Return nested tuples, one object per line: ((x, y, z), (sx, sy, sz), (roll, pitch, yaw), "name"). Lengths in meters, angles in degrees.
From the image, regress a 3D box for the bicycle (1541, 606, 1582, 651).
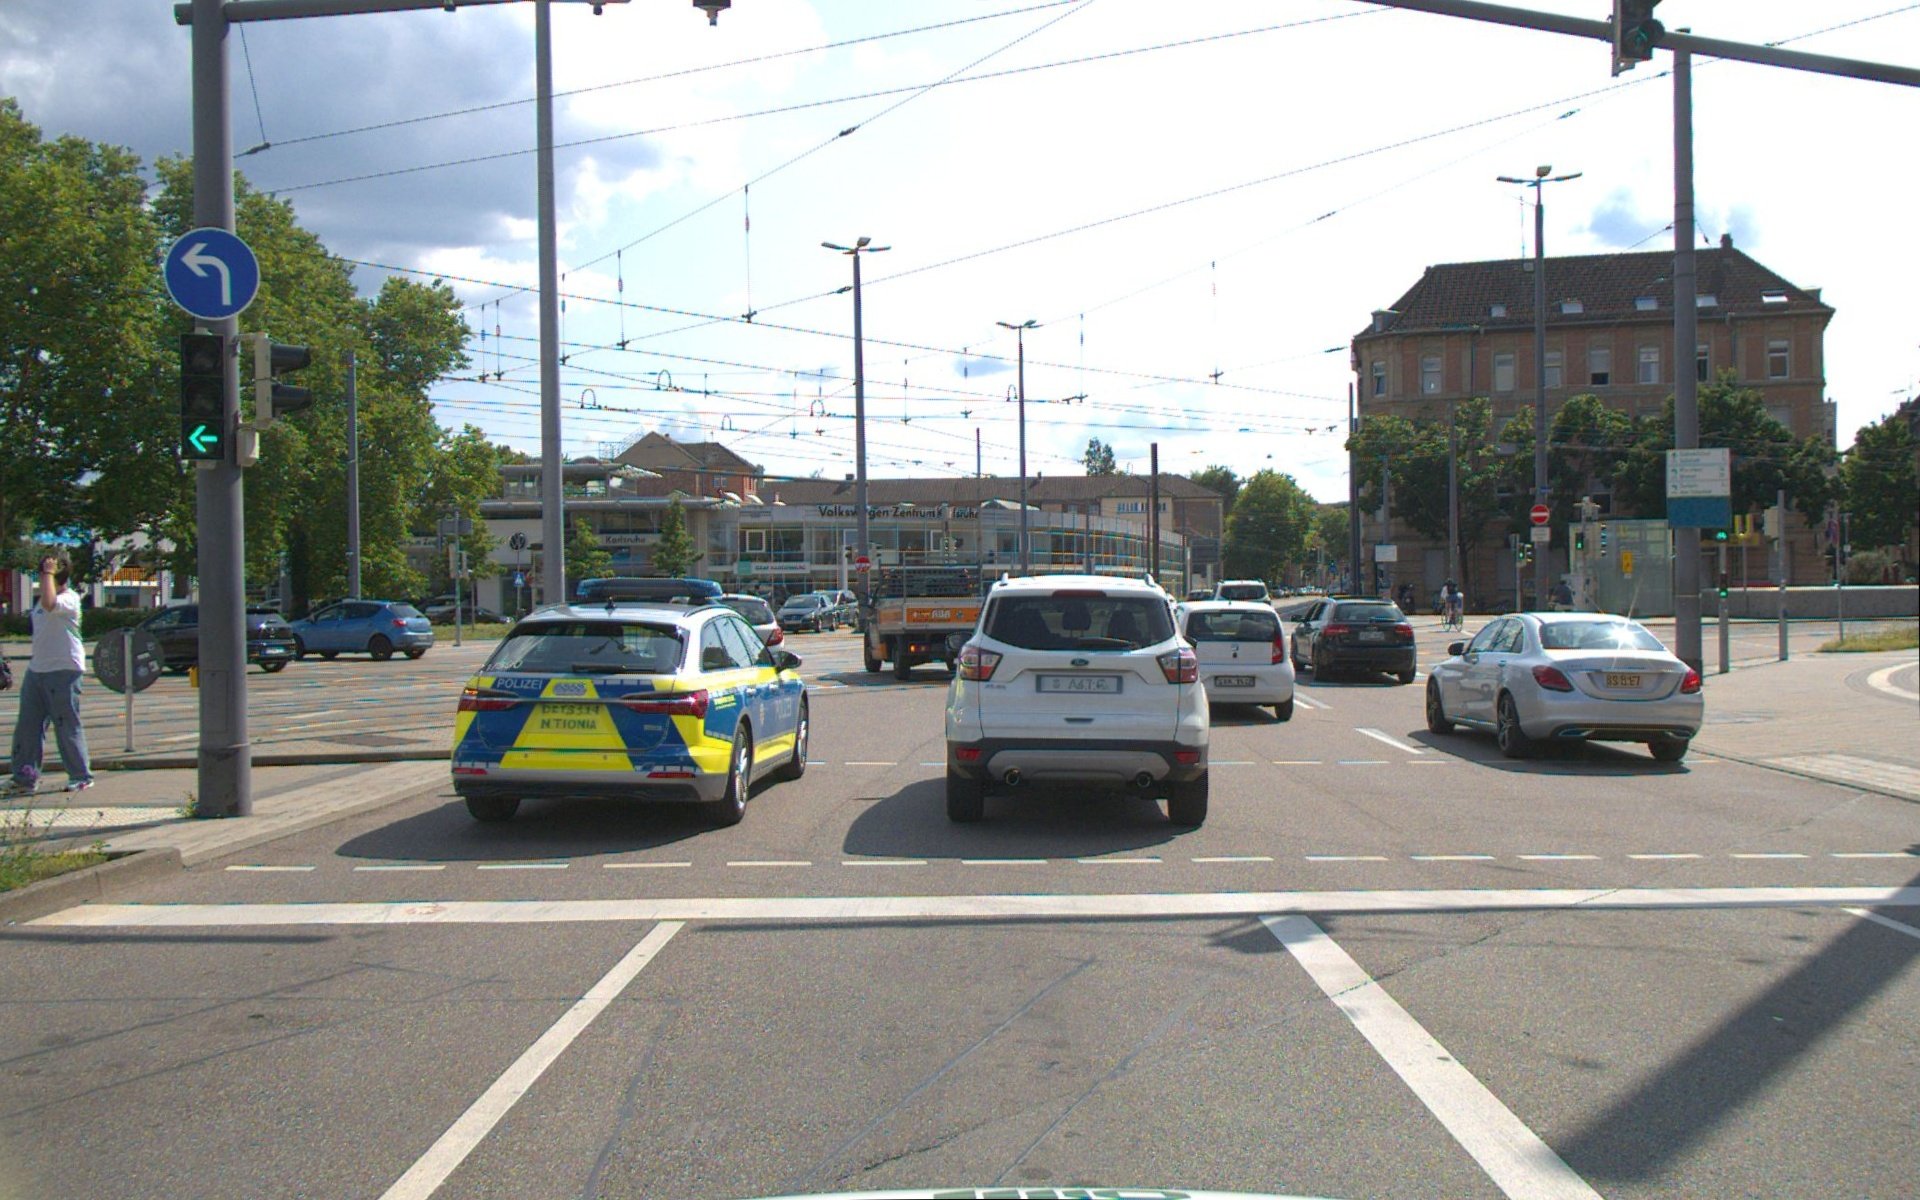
((14.671, 0.693, 40.288), (0.829, 0.987, 1.961), (-3, 0, 22), "bicycle")

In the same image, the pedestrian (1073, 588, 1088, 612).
((9.096, 0.026, 124.877), (0.859, 1.767, 0.874), (0, -1, 31), "pedestrian")

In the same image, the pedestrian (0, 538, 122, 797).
((-7.131, 0.517, 12.897), (0.831, 1.950, 0.692), (-1, -1, -5), "pedestrian")

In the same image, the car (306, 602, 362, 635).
((-39.818, 1.172, 105.272), (1.929, 1.971, 5.063), (-2, -1, -5), "car")

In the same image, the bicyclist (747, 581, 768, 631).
((-7.105, 0.209, 58.110), (0.646, 1.768, 0.640), (0, 0, 2), "bicyclist")

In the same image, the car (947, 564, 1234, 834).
((0.810, 0.639, 12.413), (1.790, 1.693, 3.955), (0, 0, -1), "car")

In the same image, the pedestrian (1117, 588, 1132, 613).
((12.987, 0.050, 130.612), (0.858, 1.956, 0.875), (0, -1, 28), "pedestrian")

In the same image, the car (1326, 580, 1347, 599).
((35.410, -0.975, 155.602), (1.797, 1.681, 4.003), (0, -1, 15), "car")

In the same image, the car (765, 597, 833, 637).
((-6.102, 0.629, 63.076), (1.700, 1.397, 3.644), (-2, 0, 9), "car")

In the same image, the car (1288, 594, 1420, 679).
((7.003, 0.606, 29.758), (1.663, 1.396, 4.135), (-1, 0, 4), "car")

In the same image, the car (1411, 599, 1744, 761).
((6.462, 0.753, 17.950), (1.891, 1.481, 4.759), (-1, 0, 1), "car")

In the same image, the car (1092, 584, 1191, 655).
((3.878, 0.407, 35.816), (1.812, 1.444, 3.679), (0, 0, 1), "car")

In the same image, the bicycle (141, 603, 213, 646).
((-26.685, 0.812, 56.424), (2.136, 1.439, 0.808), (0, 0, -20), "bicycle")

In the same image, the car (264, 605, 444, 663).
((-15.068, 0.832, 41.192), (3.902, 1.401, 1.744), (0, -1, 13), "car")

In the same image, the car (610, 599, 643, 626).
((-20.948, 0.795, 104.083), (1.785, 1.560, 3.909), (-2, -1, -9), "car")

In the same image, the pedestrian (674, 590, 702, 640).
((-9.698, 0.529, 58.942), (0.909, 1.774, 0.587), (1, -1, -16), "pedestrian")

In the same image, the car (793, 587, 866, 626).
((-5.566, 0.262, 71.205), (1.701, 1.600, 4.002), (-2, 0, 18), "car")

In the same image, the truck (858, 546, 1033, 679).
((-0.415, 0.229, 30.476), (2.296, 2.193, 5.837), (1, 0, -10), "truck")

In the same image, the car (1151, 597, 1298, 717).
((3.532, 0.710, 22.660), (1.615, 1.446, 4.002), (1, 0, 4), "car")

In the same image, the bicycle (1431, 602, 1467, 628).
((15.458, 0.470, 52.339), (0.573, 0.789, 1.620), (-1, 0, -3), "bicycle")

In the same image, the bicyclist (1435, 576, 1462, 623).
((15.441, -0.015, 52.297), (0.596, 1.476, 0.774), (-1, 0, -3), "bicyclist")

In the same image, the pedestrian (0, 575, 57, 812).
((-7.174, 0.673, 12.027), (0.831, 1.676, 0.692), (-1, -1, -5), "pedestrian")

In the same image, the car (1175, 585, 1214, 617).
((11.099, 0.055, 78.279), (1.810, 1.444, 3.682), (0, 0, 8), "car")

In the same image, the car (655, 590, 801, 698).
((-3.641, 0.617, 25.375), (1.816, 1.500, 3.985), (-1, 0, -14), "car")

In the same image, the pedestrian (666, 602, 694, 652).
((-10.085, 0.975, 59.494), (0.909, 1.774, 0.586), (1, -1, -16), "pedestrian")

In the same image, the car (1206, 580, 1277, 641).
((8.083, 0.320, 47.773), (1.797, 1.681, 4.003), (0, -1, 6), "car")

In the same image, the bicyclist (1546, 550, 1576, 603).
((14.628, -0.568, 40.256), (0.622, 1.241, 0.924), (-2, 1, 22), "bicyclist")

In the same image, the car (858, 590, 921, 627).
((-2.966, 0.342, 70.780), (1.653, 1.487, 3.972), (-2, 0, 13), "car")

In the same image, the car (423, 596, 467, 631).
((-32.581, 0.872, 104.768), (1.957, 2.049, 4.222), (-2, -1, -9), "car")

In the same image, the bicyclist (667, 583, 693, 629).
((-10.752, 0.223, 63.474), (0.743, 1.712, 0.761), (-2, 0, 10), "bicyclist")

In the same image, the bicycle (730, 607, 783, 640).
((-7.153, 0.817, 58.150), (1.741, 1.145, 0.640), (0, 0, 3), "bicycle")

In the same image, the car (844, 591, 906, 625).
((-3.970, 0.361, 78.130), (1.592, 1.487, 3.971), (-2, 0, 18), "car")

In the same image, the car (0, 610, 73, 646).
((-38.437, 1.163, 67.132), (3.911, 1.350, 1.631), (-2, -1, -7), "car")

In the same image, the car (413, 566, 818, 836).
((-2.268, 0.629, 12.212), (1.841, 1.596, 4.616), (-1, -1, 2), "car")
